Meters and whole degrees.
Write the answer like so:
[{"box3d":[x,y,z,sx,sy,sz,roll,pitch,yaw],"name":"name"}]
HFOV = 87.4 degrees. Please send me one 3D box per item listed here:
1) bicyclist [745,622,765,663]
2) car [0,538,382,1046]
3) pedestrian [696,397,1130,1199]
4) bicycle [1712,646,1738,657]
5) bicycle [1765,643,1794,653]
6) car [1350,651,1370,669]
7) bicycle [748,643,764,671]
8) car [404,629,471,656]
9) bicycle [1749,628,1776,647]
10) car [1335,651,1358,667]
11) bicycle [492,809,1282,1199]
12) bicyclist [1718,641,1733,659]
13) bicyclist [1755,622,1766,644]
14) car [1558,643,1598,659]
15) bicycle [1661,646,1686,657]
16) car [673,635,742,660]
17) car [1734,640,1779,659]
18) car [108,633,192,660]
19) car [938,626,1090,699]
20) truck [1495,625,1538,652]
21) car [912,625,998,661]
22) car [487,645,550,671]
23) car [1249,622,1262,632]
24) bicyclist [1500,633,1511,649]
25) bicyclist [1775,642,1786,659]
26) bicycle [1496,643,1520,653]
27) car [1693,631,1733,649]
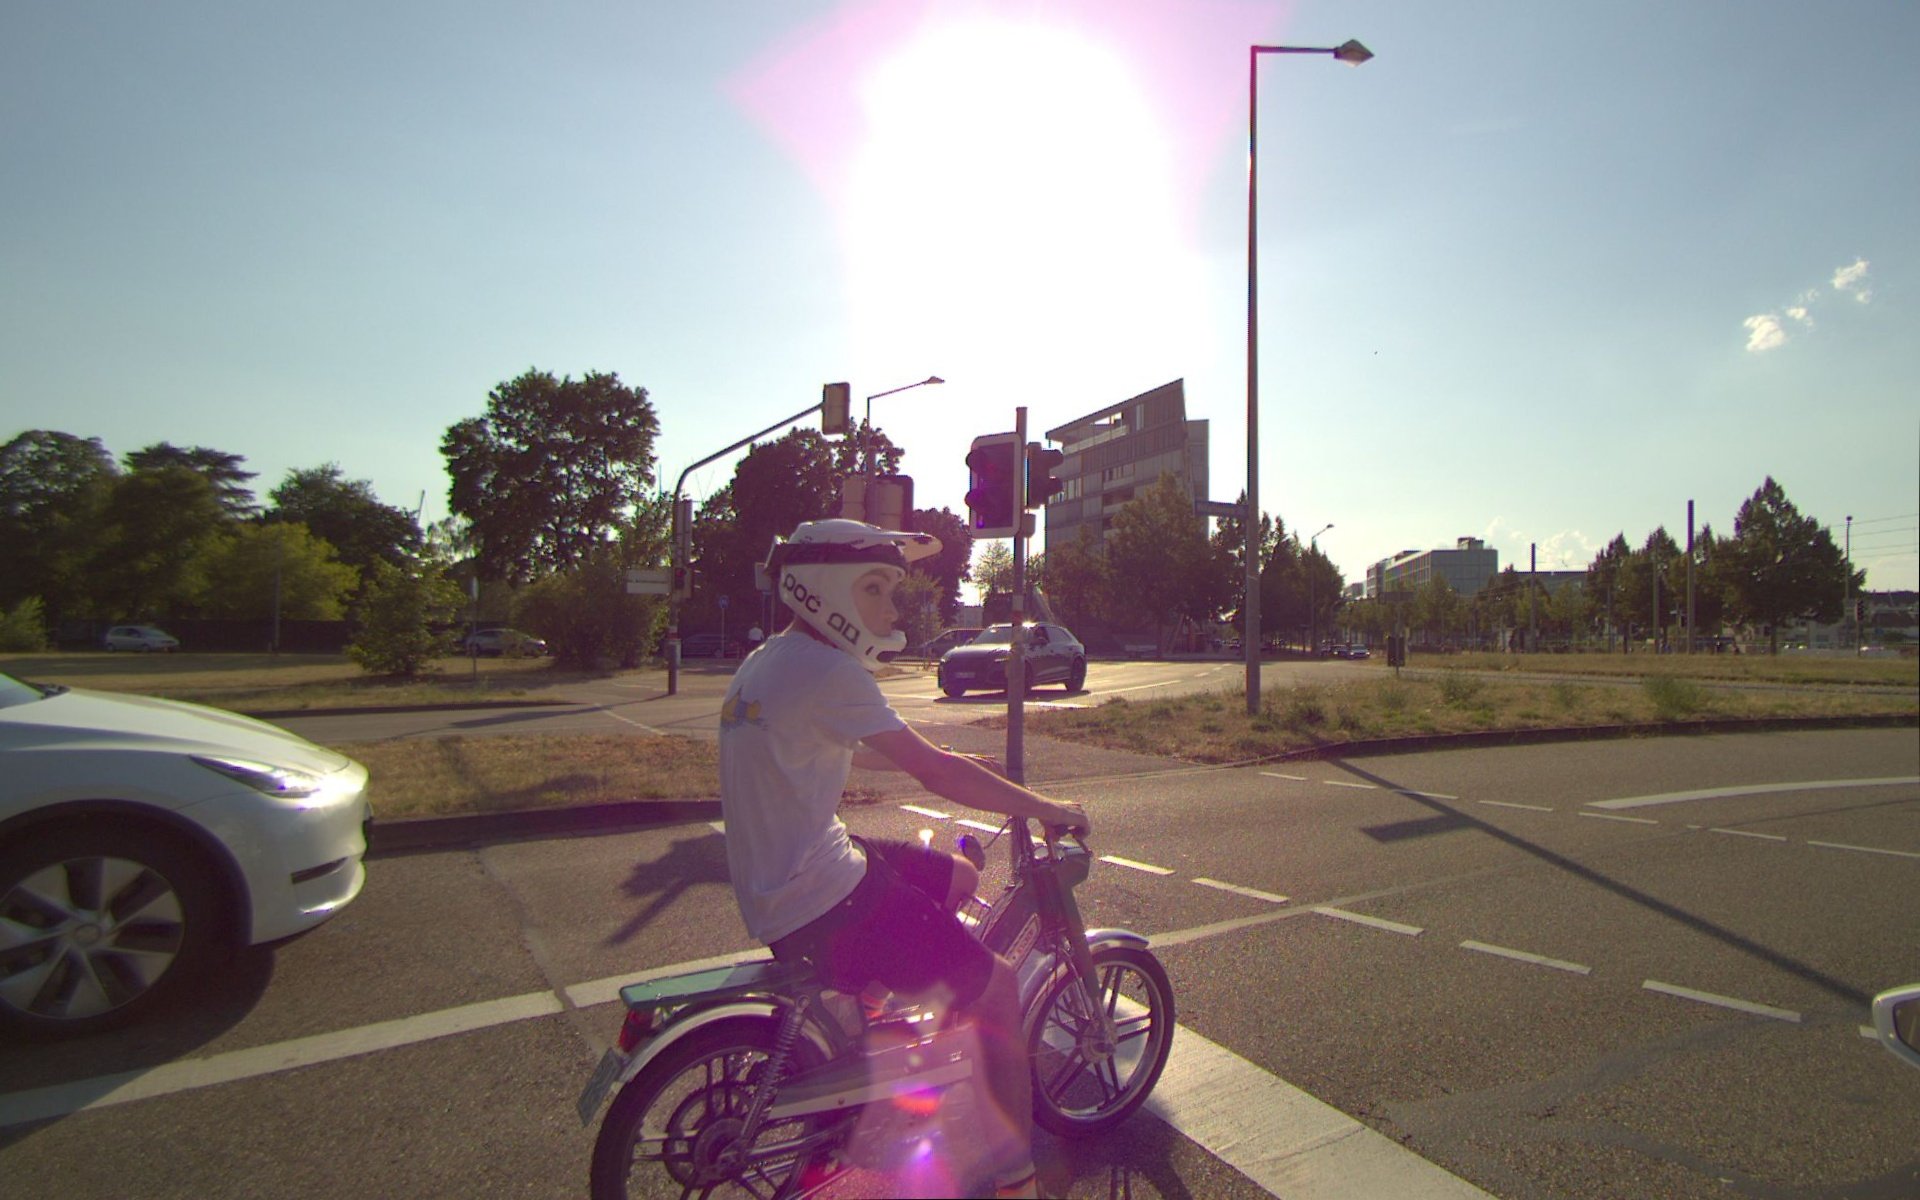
[{"box3d":[-7.901,1.644,38.684,0.629,1.576,0.630,0,-1,-3],"name":"bicyclist"},{"box3d":[-4.575,0.582,3.184,4.630,1.620,1.724,2,-1,-35],"name":"car"},{"box3d":[-0.125,0.392,2.431,0.844,1.539,0.653,1,-2,-30],"name":"pedestrian"},{"box3d":[60.827,4.090,79.874,1.592,0.871,0.543,-1,-2,35],"name":"bicycle"},{"box3d":[63.957,3.738,78.427,1.693,0.754,0.479,-1,-2,34],"name":"bicycle"},{"box3d":[36.629,5.479,91.968,1.455,1.495,3.301,0,-2,17],"name":"car"},{"box3d":[-7.850,2.189,38.617,0.360,1.046,1.439,0,-2,-2],"name":"bicycle"},{"box3d":[-31.823,2.583,61.182,3.308,1.567,1.584,0,-2,9],"name":"car"},{"box3d":[62.432,2.894,78.152,1.516,1.493,0.479,-1,-2,29],"name":"bicycle"},{"box3d":[39.480,6.004,102.672,1.960,1.495,4.002,0,-2,17],"name":"car"},{"box3d":[-0.069,1.052,2.359,1.834,0.887,0.475,1,-2,-31],"name":"bicycle"},{"box3d":[60.868,3.957,79.880,0.941,1.375,0.691,-1,-2,34],"name":"bicyclist"},{"box3d":[62.338,2.588,78.226,0.597,1.694,0.477,0,-2,28],"name":"bicyclist"},{"box3d":[51.114,4.184,83.099,2.622,1.278,1.114,0,-2,20],"name":"car"},{"box3d":[56.273,4.078,79.247,1.592,0.871,0.543,-1,-2,35],"name":"bicycle"},{"box3d":[-14.651,2.744,58.344,3.554,1.457,1.583,0,-2,5],"name":"car"},{"box3d":[87.846,5.436,110.848,1.960,2.040,4.002,0,-2,5],"name":"car"},{"box3d":[-47.528,2.737,58.958,3.863,1.545,1.658,0,-2,9],"name":"car"},{"box3d":[1.377,1.406,23.576,1.624,1.532,4.635,-2,-3,30],"name":"car"},{"box3d":[71.967,4.951,129.993,3.074,3.273,7.178,0,-2,14],"name":"truck"},{"box3d":[-0.308,2.518,58.875,4.737,2.040,1.995,1,-2,-13],"name":"car"},{"box3d":[-23.509,3.070,53.490,2.747,1.309,1.338,0,-2,9],"name":"car"},{"box3d":[47.013,4.288,160.113,1.753,1.576,4.002,2,0,14],"name":"car"},{"box3d":[45.560,3.435,83.899,0.641,1.343,0.519,0,-1,17],"name":"bicyclist"},{"box3d":[64.023,3.935,78.382,0.643,1.343,0.517,-1,-2,33],"name":"bicyclist"},{"box3d":[45.705,4.009,83.818,1.687,0.754,0.481,0,-2,16],"name":"bicycle"},{"box3d":[89.269,4.730,119.180,1.960,2.040,4.002,0,-2,5],"name":"car"}]
